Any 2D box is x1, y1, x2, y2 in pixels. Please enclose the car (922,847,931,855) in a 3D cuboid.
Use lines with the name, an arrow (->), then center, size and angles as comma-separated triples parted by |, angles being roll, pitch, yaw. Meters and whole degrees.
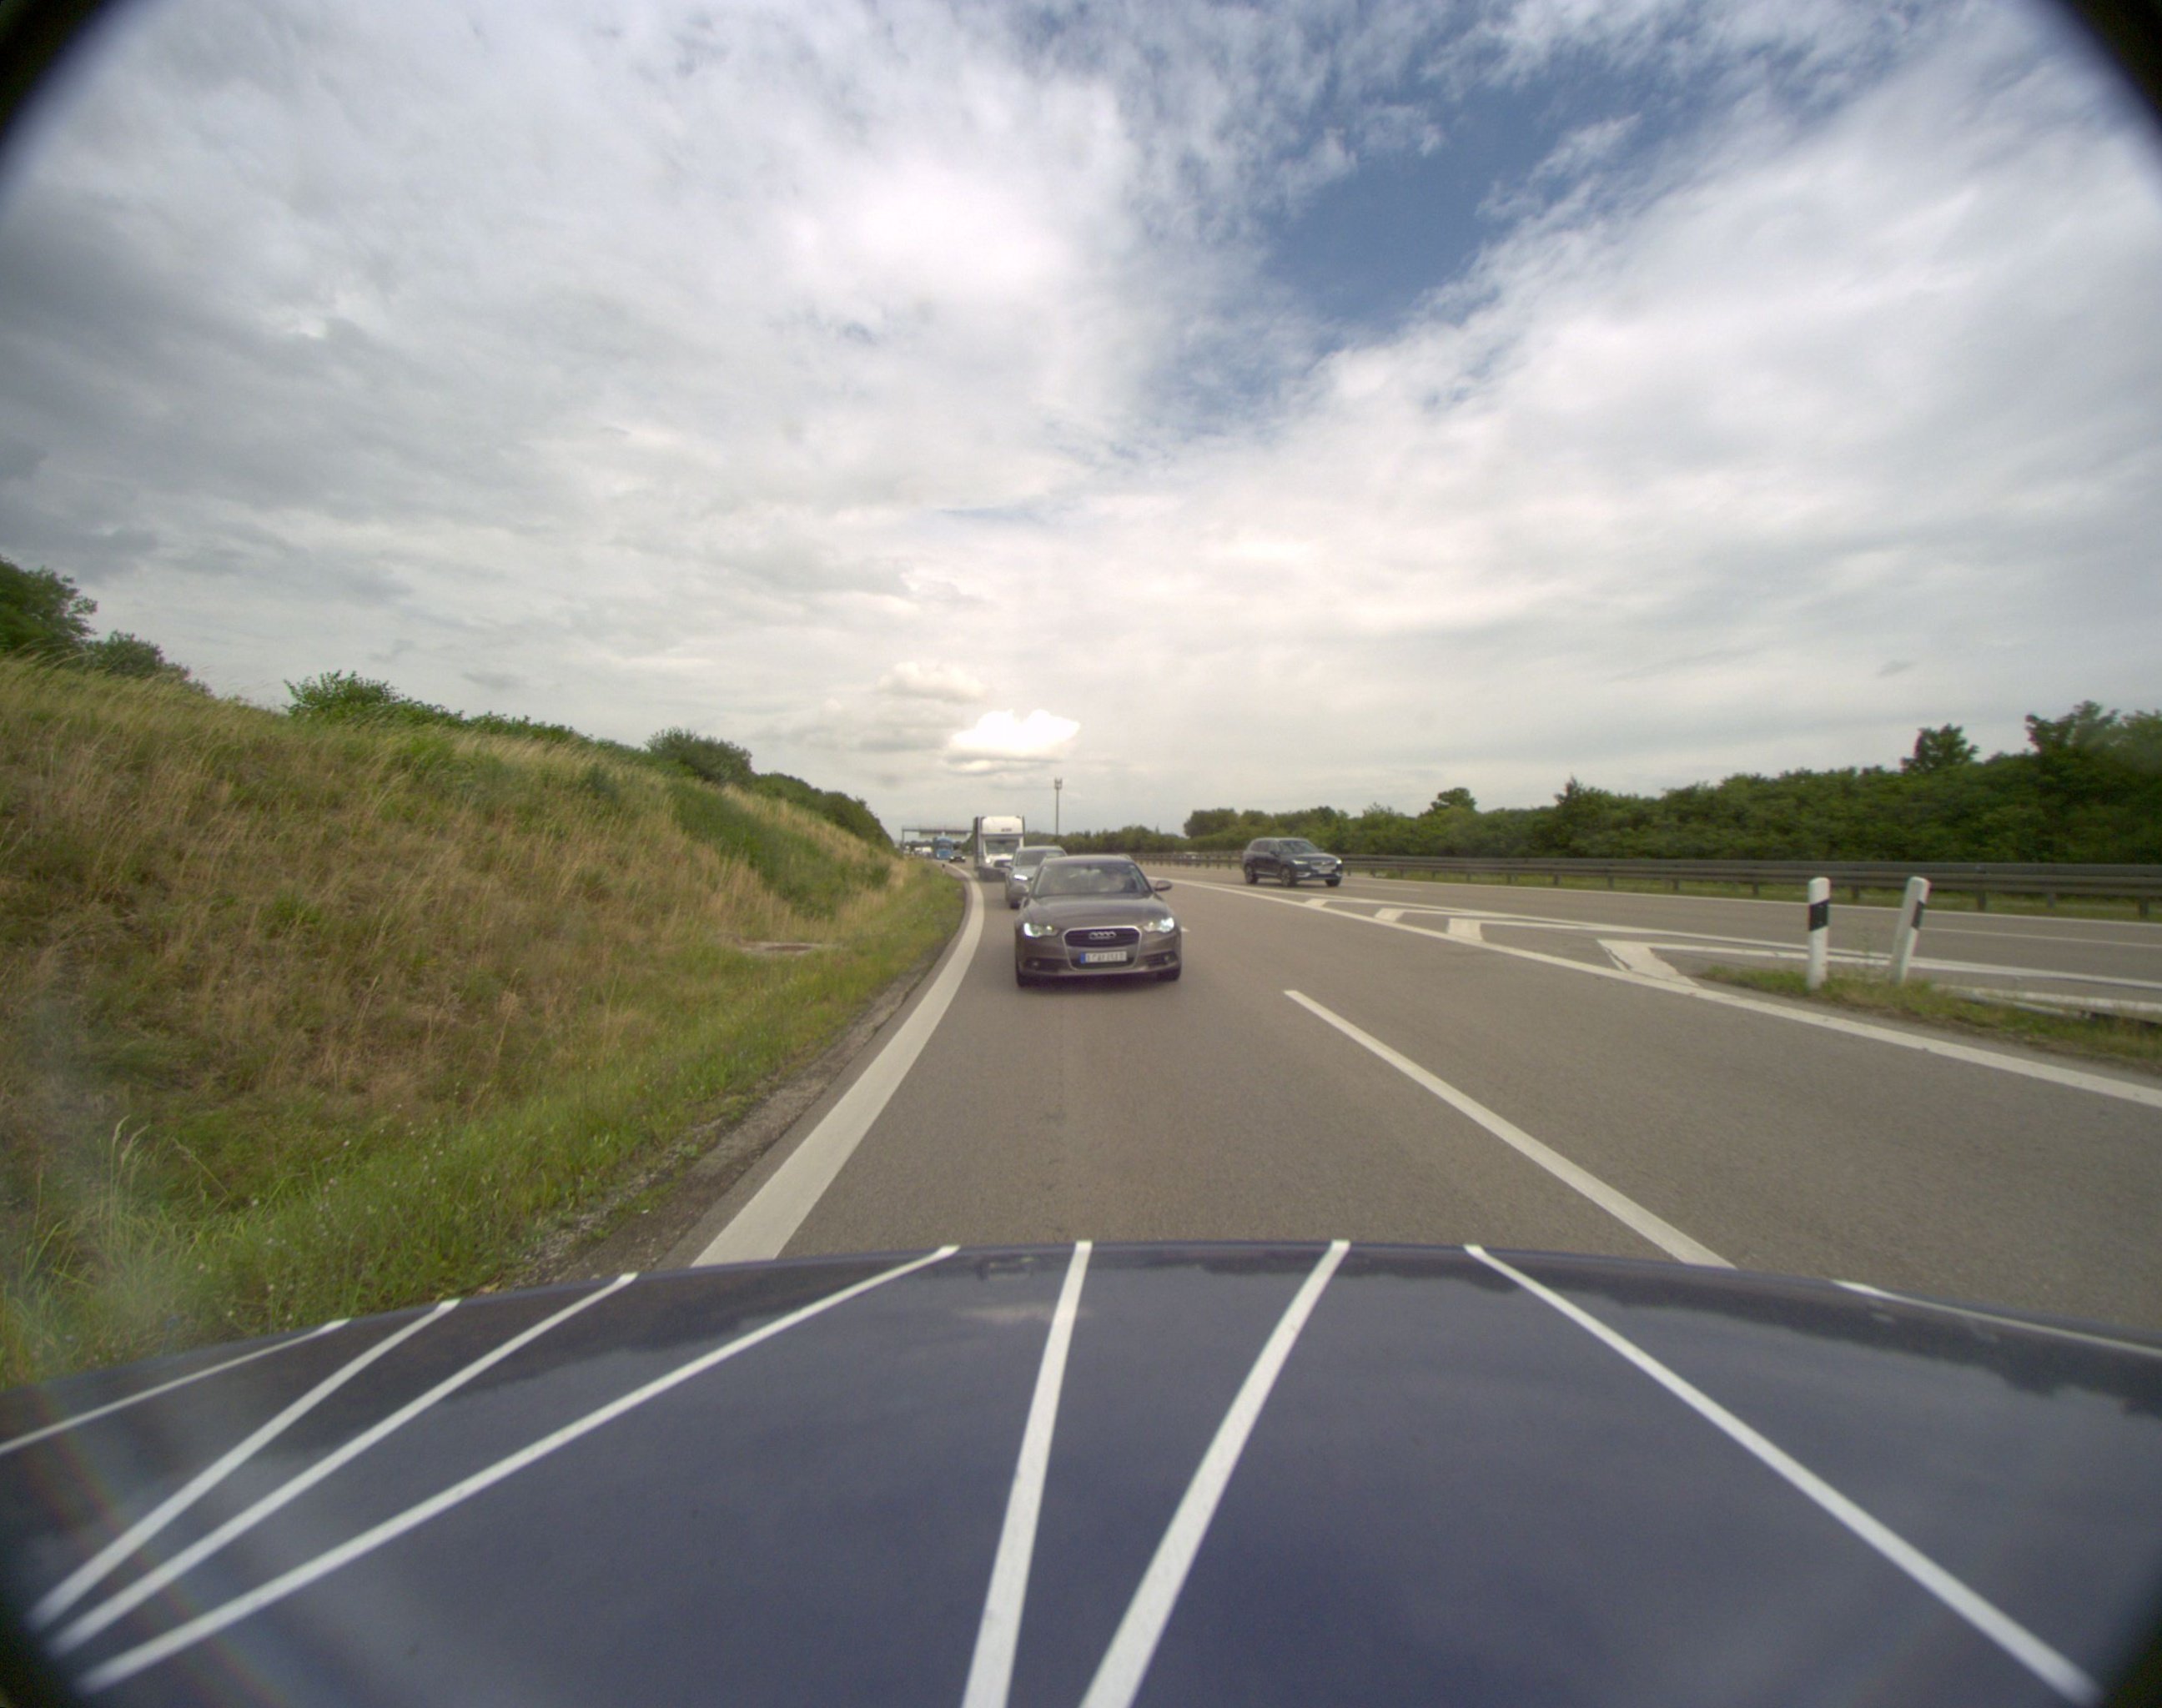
car -> -37.938, -0.712, 186.561 | 1.932, 2.020, 3.995 | -1, 1, -12

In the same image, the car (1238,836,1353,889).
car -> 7.668, 0.247, 27.781 | 2.001, 1.751, 4.918 | -1, 1, -12

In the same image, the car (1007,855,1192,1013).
car -> 0.073, 0.813, 9.739 | 1.849, 1.489, 4.027 | -2, 1, -4

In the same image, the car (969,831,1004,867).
car -> -7.711, -0.403, 61.324 | 2.023, 2.729, 6.919 | -1, 1, -13

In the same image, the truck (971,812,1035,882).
truck -> -4.117, -0.385, 38.709 | 2.451, 3.217, 7.182 | -1, 1, -12

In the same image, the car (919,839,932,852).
car -> -39.644, -2.169, 193.755 | 2.949, 3.447, 6.562 | -1, 1, -13

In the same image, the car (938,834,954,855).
car -> -23.962, -1.655, 134.629 | 2.507, 3.689, 7.692 | -1, 1, -13

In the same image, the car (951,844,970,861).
car -> -14.842, -0.181, 93.253 | 2.001, 2.002, 3.995 | -1, 1, -13

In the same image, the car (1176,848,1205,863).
car -> 12.156, 0.101, 84.334 | 1.810, 1.587, 3.995 | -1, 1, -13

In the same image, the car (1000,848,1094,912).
car -> -1.053, 0.625, 21.077 | 2.000, 1.567, 3.995 | -1, 1, -11
